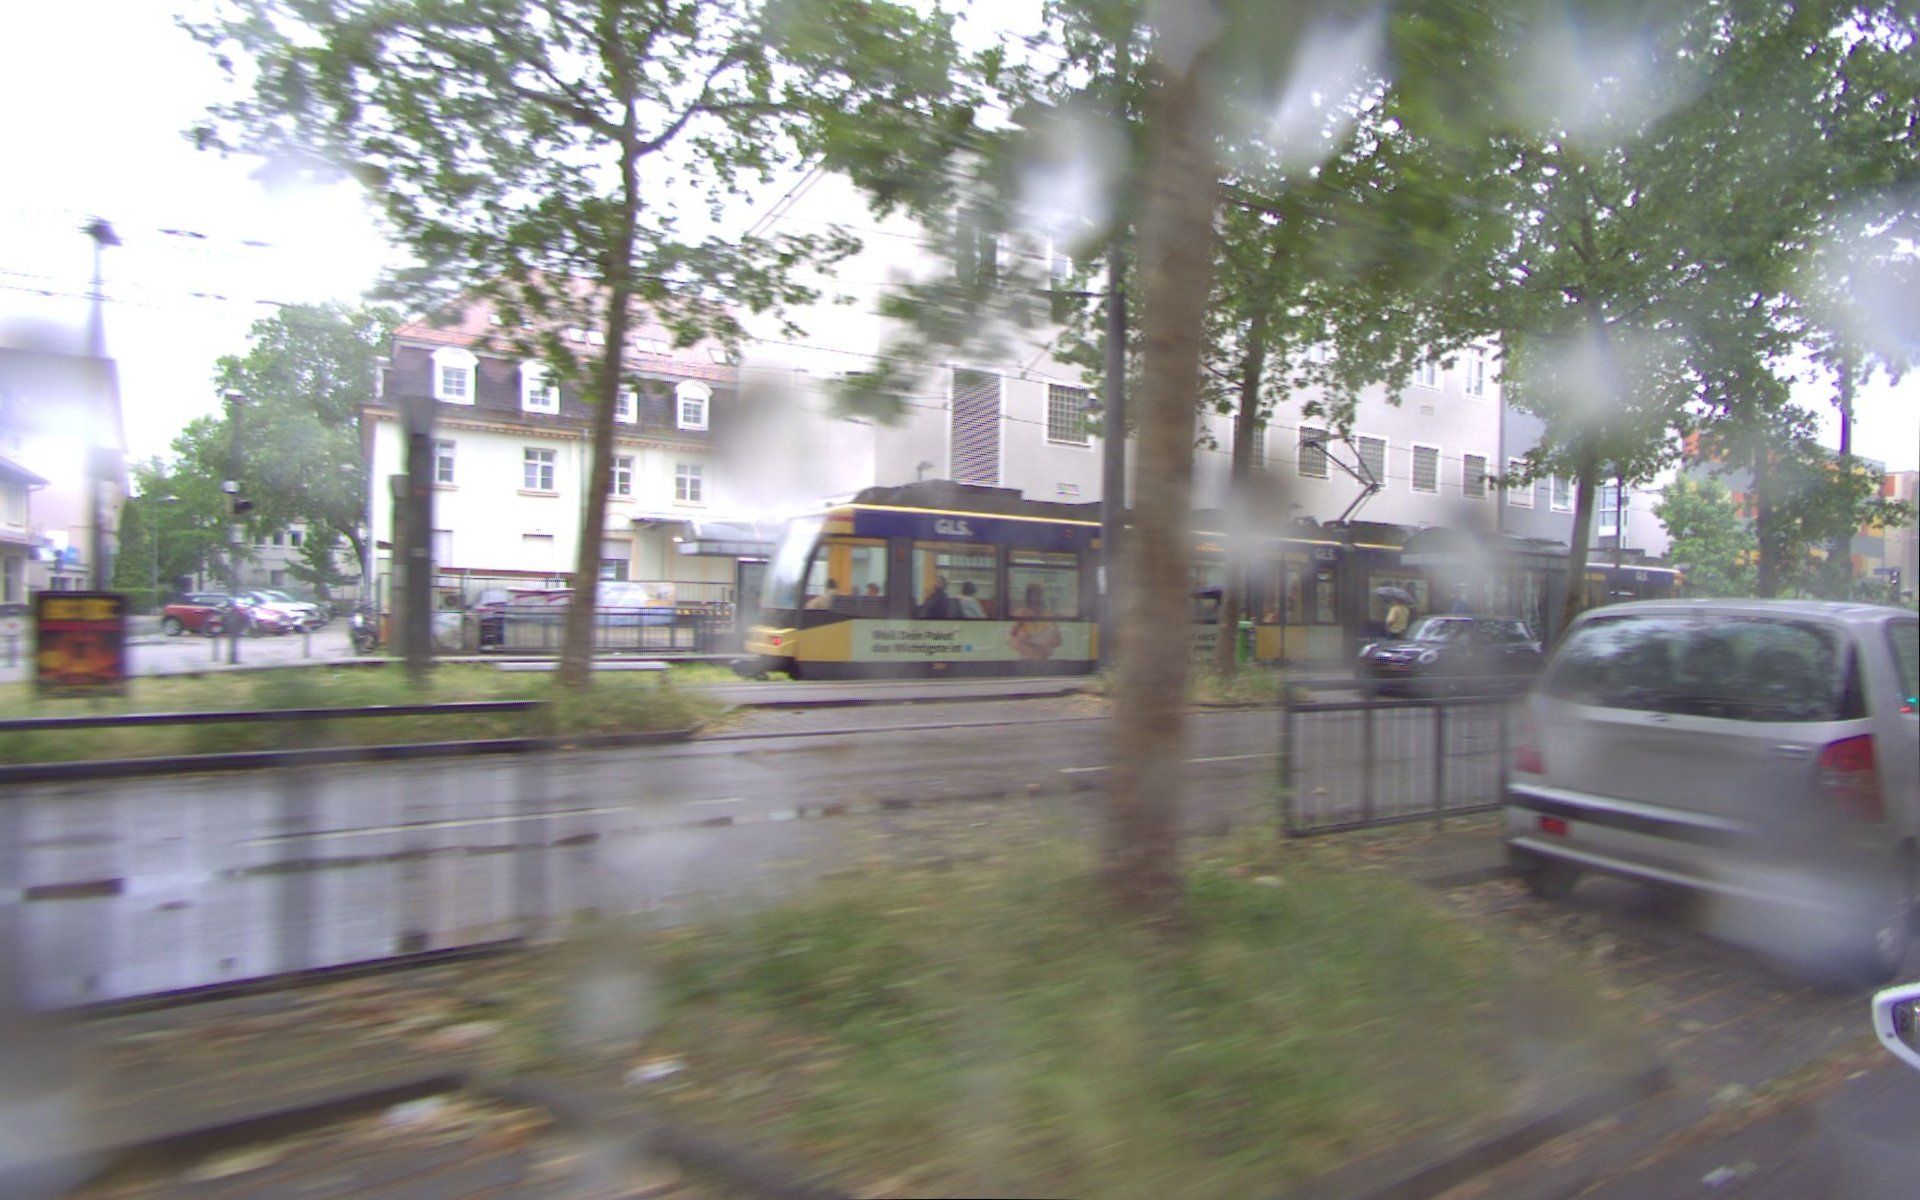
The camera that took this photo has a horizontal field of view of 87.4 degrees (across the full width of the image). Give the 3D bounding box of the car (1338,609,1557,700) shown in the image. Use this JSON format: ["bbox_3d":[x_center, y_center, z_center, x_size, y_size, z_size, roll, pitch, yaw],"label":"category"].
[{"bbox_3d":[8.642,0.913,17.750,3.713,1.361,1.729,1,2,-32],"label":"car"}]

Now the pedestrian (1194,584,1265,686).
[{"bbox_3d":[4.714,0.599,17.605,0.862,1.726,0.813,1,0,-32],"label":"pedestrian"}]

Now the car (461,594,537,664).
[{"bbox_3d":[-11.446,0.667,24.891,1.589,1.562,3.664,1,0,-26],"label":"car"}]

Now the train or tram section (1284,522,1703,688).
[{"bbox_3d":[14.913,0.444,27.078,14.513,3.605,3.089,3,-2,-32],"label":"train or tram section"}]

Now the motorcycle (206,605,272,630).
[{"bbox_3d":[-22.641,0.544,31.553,1.642,0.719,0.521,2,-1,-3],"label":"motorcycle"}]

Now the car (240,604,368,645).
[{"bbox_3d":[-26.243,1.013,40.274,3.922,1.460,1.692,2,-3,-3],"label":"car"}]

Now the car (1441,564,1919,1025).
[{"bbox_3d":[4.383,0.722,5.389,3.621,1.704,1.614,1,1,-34],"label":"car"}]

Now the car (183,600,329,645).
[{"bbox_3d":[-25.238,0.832,36.093,3.922,1.460,1.692,2,-3,-3],"label":"car"}]

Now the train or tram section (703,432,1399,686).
[{"bbox_3d":[2.635,-0.259,19.489,14.415,3.605,3.090,3,-2,-32],"label":"train or tram section"}]

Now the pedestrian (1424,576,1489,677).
[{"bbox_3d":[10.314,0.543,20.862,0.810,2.040,0.866,1,0,-27],"label":"pedestrian"}]

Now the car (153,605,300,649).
[{"bbox_3d":[-24.125,0.872,33.094,3.778,1.242,1.345,2,2,-3],"label":"car"}]

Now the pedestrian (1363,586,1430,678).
[{"bbox_3d":[8.408,0.605,19.354,0.862,1.726,0.813,1,0,-32],"label":"pedestrian"}]
